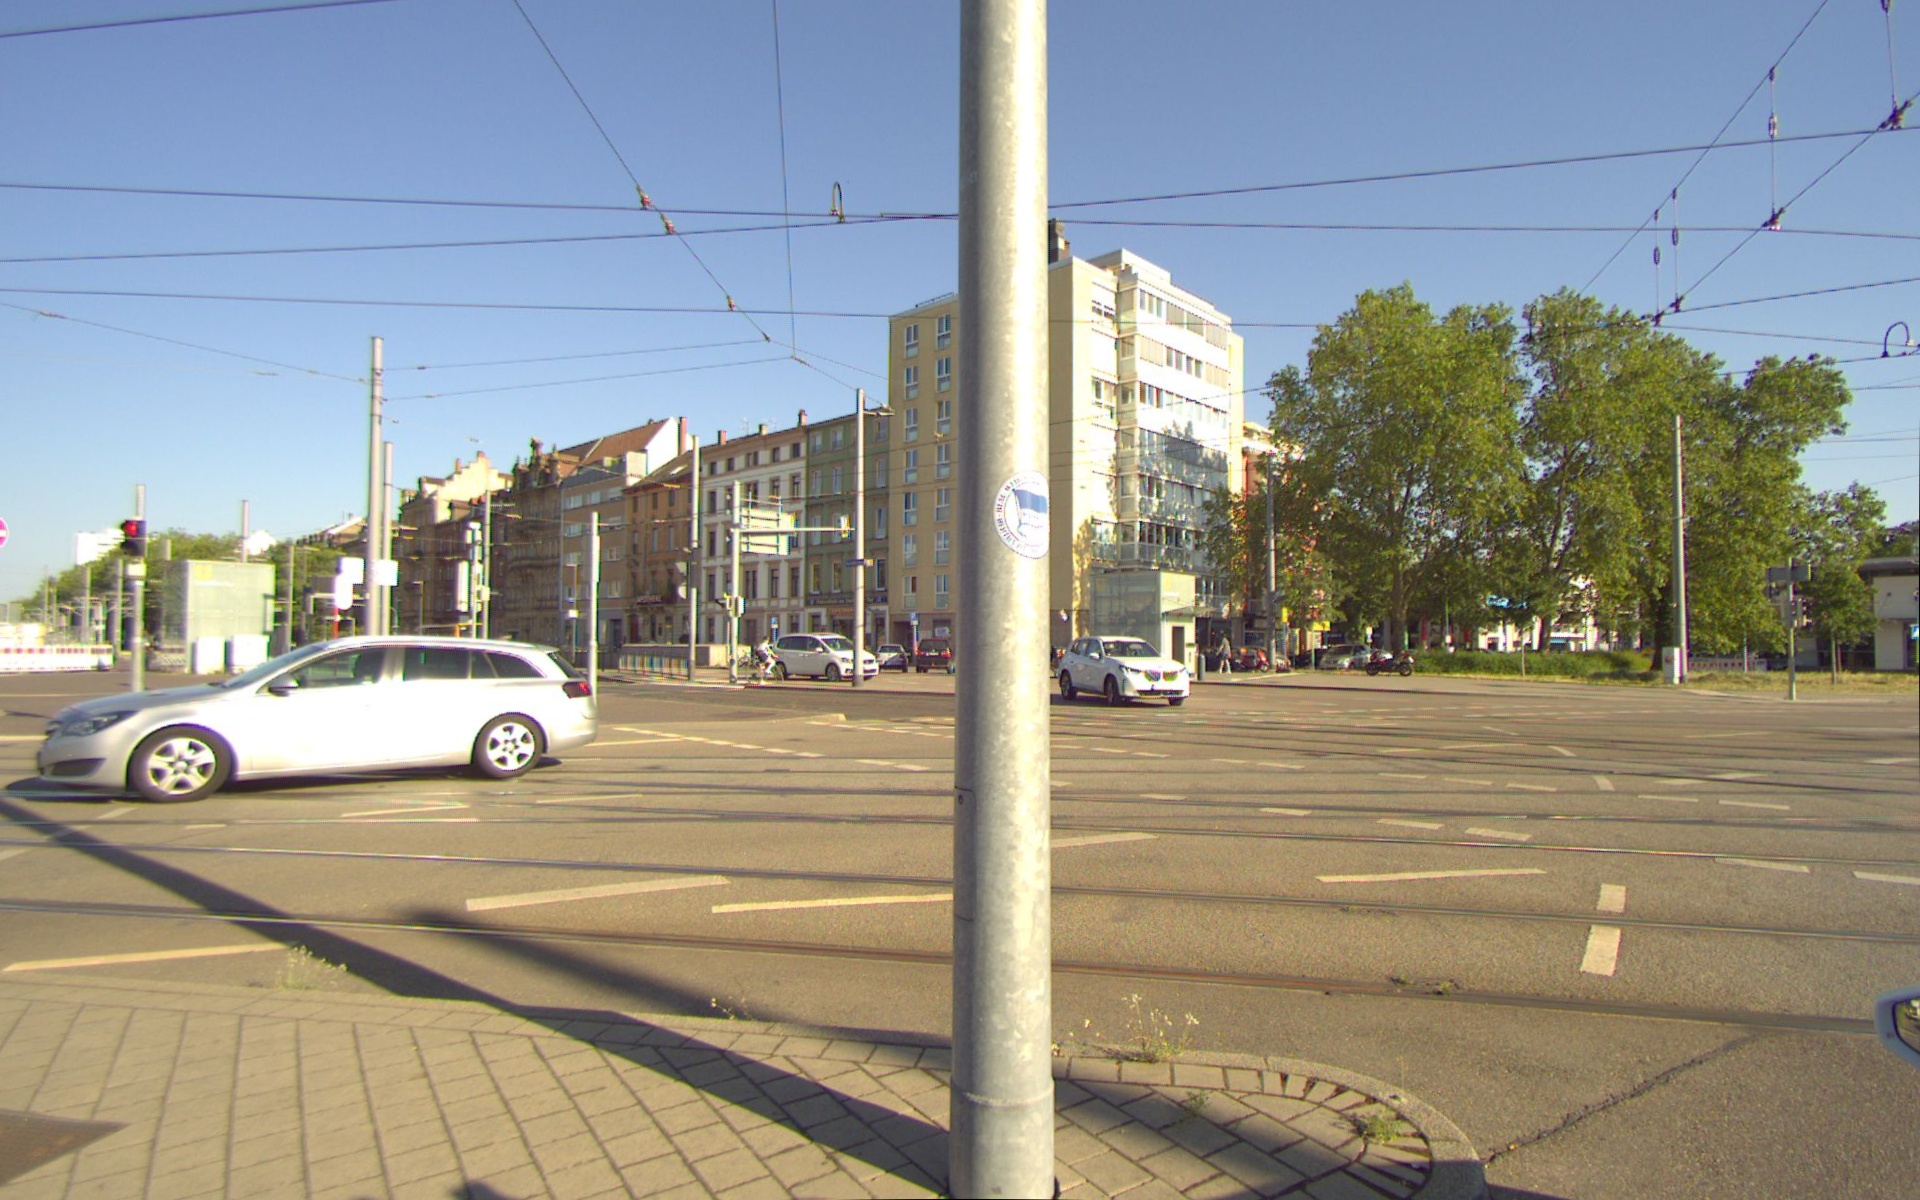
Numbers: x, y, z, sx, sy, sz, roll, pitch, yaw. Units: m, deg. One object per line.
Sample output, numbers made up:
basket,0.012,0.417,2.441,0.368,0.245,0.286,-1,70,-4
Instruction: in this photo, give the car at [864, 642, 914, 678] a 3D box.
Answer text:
car,-3.675,3.102,52.567,1.960,1.728,4.002,2,-1,5

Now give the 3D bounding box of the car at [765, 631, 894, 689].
car,-4.841,2.146,36.779,4.840,1.848,1.989,1,-2,42

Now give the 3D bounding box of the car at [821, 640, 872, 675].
car,-6.225,3.148,55.431,1.960,1.728,4.002,2,-1,5

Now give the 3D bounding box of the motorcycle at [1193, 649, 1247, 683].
motorcycle,14.849,3.759,57.373,1.347,1.793,2.648,3,-2,-43

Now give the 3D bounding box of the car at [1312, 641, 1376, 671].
car,21.641,3.135,56.554,3.971,1.588,1.754,3,-2,-42

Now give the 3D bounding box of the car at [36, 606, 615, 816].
car,-6.201,0.991,10.306,4.683,1.684,1.765,3,-2,-41

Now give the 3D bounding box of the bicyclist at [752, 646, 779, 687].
bicyclist,-6.626,2.256,34.213,0.658,1.368,0.618,3,-1,-44

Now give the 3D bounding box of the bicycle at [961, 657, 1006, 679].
bicycle,1.370,3.994,59.366,0.636,1.167,3.005,3,-2,-44

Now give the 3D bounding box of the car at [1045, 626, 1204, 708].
car,4.026,1.686,25.528,1.969,1.848,4.893,2,-4,-18

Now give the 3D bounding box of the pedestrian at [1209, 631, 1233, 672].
pedestrian,12.205,2.406,46.987,0.747,1.911,0.793,2,-1,-21

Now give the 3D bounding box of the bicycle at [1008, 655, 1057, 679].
bicycle,4.051,3.737,56.433,0.636,1.167,3.005,3,-2,-44

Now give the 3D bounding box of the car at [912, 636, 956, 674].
car,-1.273,2.730,50.578,1.684,1.728,4.002,2,-1,5

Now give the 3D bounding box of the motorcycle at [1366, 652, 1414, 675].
motorcycle,18.379,2.707,42.948,1.754,0.926,0.675,1,-2,42

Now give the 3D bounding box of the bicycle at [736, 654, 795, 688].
bicycle,-6.608,2.403,34.231,1.913,1.103,0.617,3,-2,-44

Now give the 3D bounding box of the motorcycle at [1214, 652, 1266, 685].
motorcycle,16.680,4.061,59.927,1.347,1.793,2.648,3,-2,-43

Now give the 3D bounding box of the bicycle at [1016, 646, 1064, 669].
bicycle,4.535,3.232,56.962,0.636,1.167,3.005,3,-2,-44
